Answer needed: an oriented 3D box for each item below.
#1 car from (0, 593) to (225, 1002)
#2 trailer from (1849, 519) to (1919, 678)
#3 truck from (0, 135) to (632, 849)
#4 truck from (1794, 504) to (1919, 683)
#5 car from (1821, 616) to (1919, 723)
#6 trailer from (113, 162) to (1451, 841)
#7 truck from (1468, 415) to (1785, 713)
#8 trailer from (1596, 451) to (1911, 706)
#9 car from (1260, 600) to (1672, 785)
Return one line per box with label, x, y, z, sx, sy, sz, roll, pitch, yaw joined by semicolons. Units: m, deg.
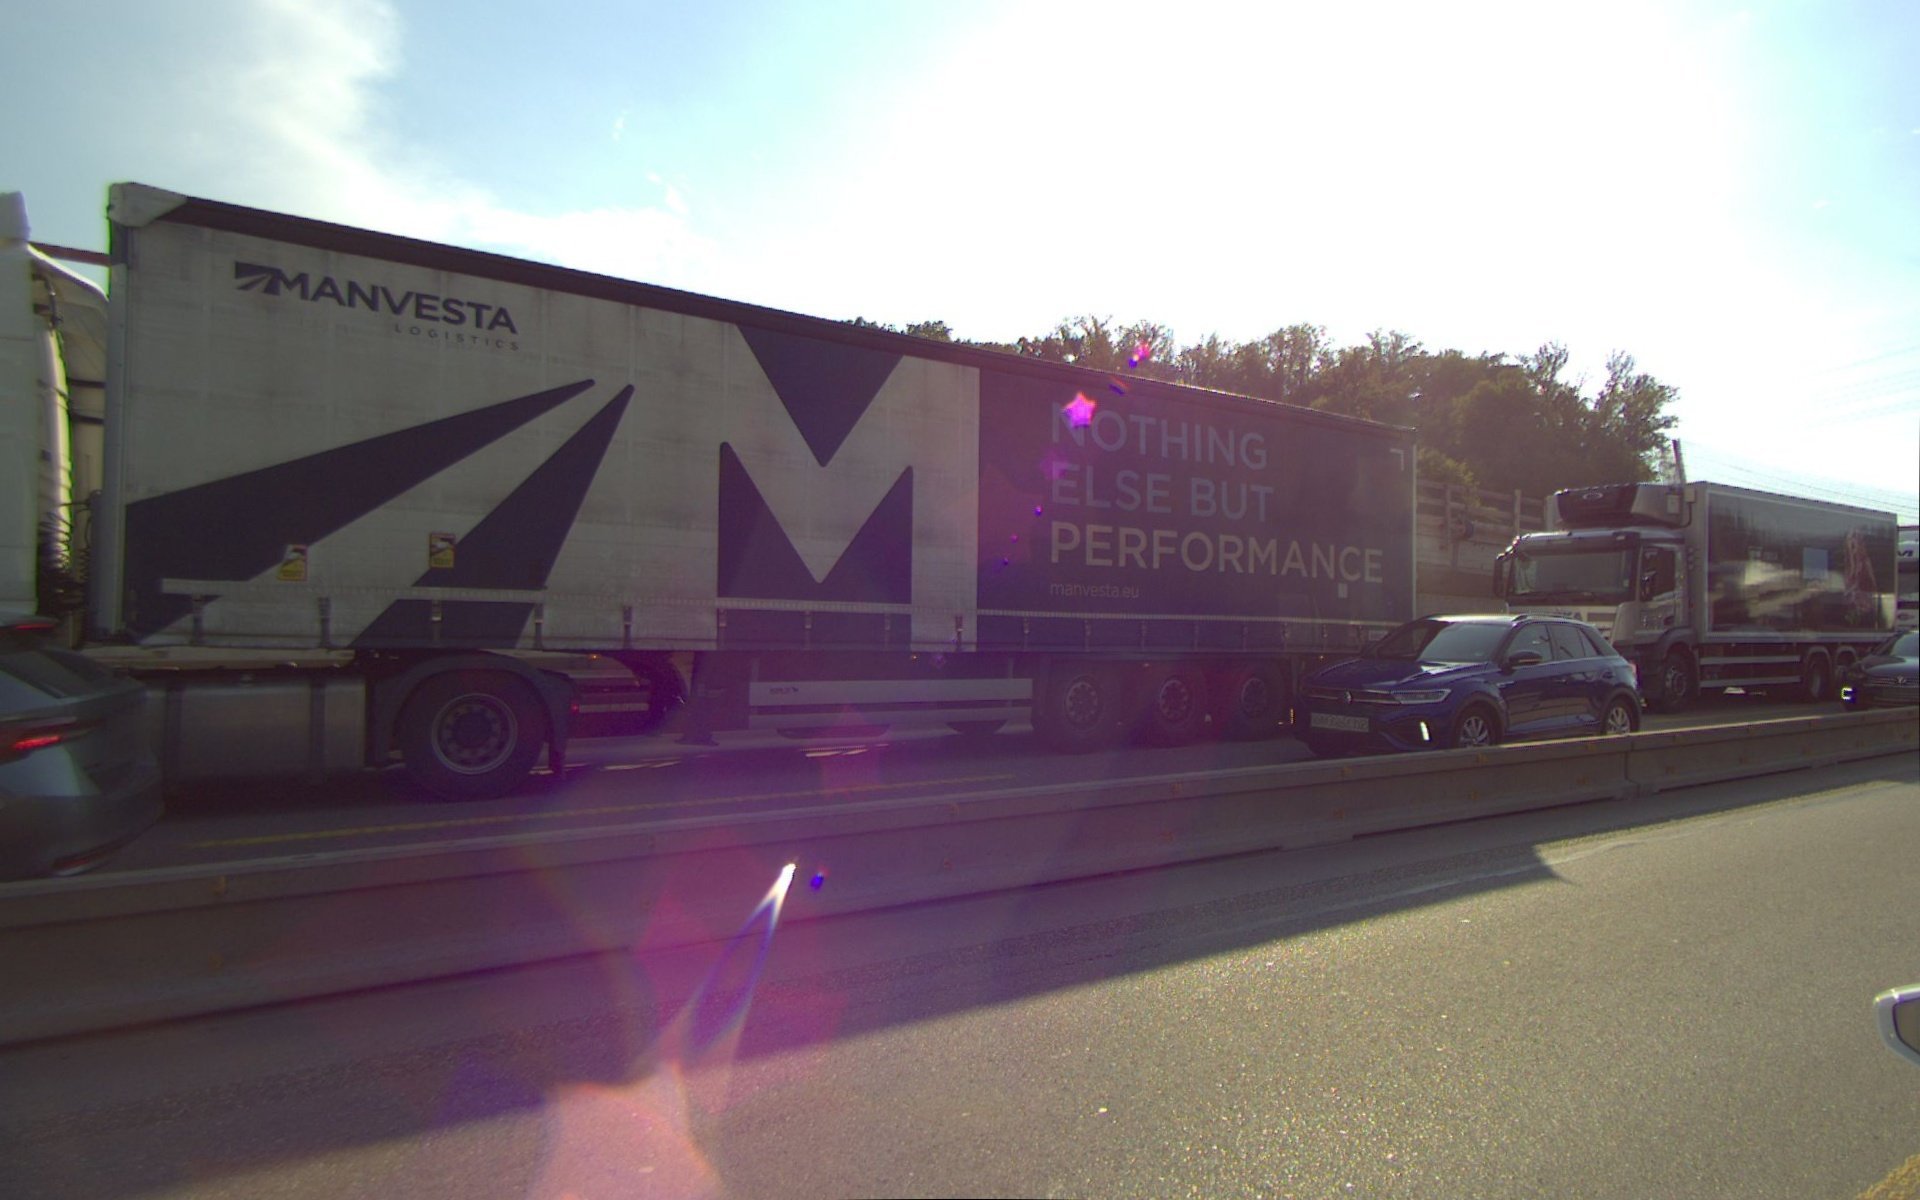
car;-5.627;0.652;3.476;4.761;1.476;1.765;3;0;-31
trailer;30.354;0.119;29.921;12.361;4.177;2.699;2;-2;-34
truck;-5.894;-0.609;7.487;6.044;4.258;2.751;2;-2;-31
truck;23.797;-0.065;25.500;4.979;4.169;2.732;2;-2;-34
car;16.933;1.224;17.239;4.692;1.607;1.852;3;1;-31
trailer;-0.047;-0.383;11.002;13.674;4.258;2.762;2;-2;-31
truck;11.928;-0.483;17.951;4.972;4.574;2.904;2;-1;-32
trailer;16.622;-0.282;20.910;7.073;4.525;2.895;2;-1;-32
car;5.388;0.894;10.541;4.429;1.571;1.758;3;-1;-31
